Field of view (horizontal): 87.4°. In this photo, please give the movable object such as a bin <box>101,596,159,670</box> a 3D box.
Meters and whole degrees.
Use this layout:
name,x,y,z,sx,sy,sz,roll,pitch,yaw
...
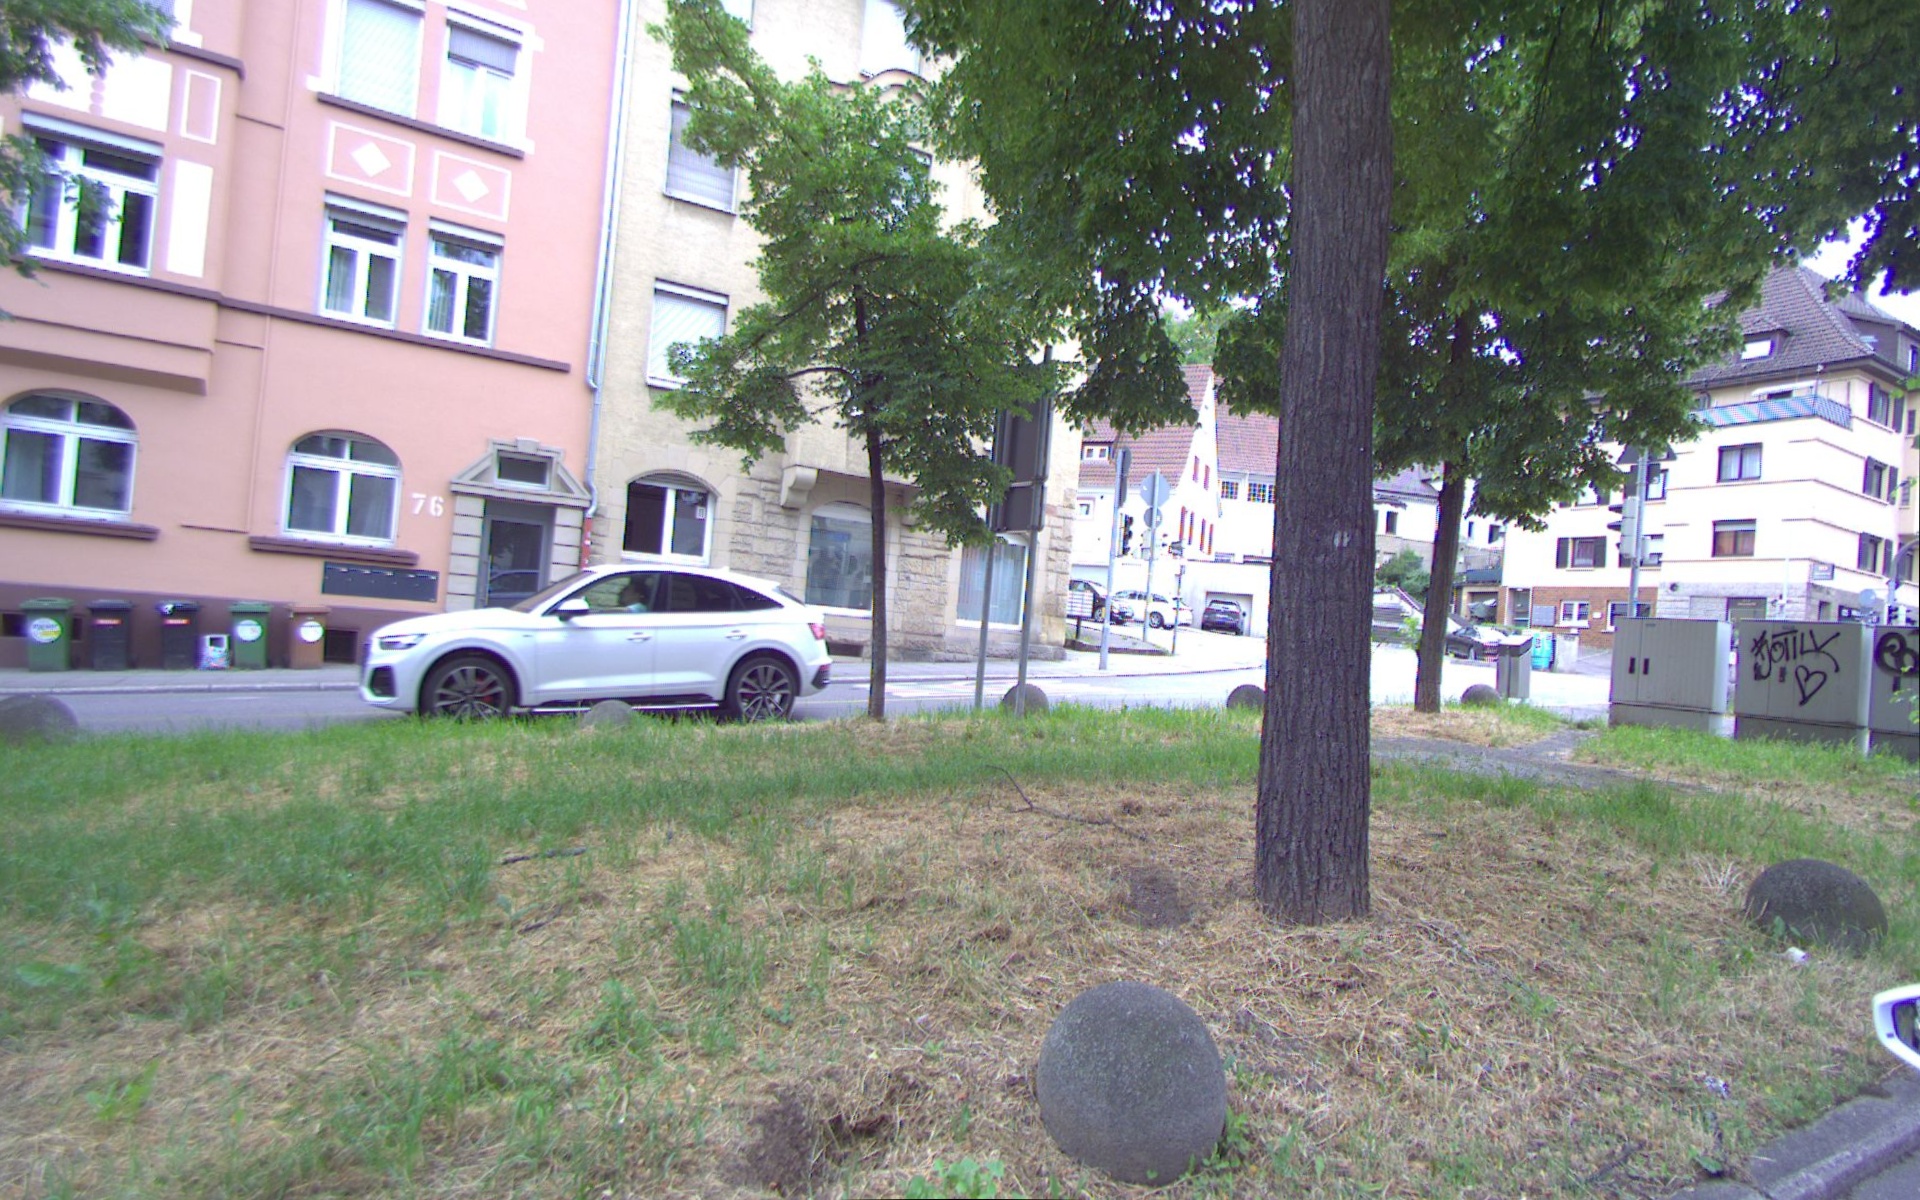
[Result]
name,x,y,z,sx,sy,sz,roll,pitch,yaw
movable object such as a bin,-11.107,0.438,13.461,0.528,0.958,0.576,3,-1,-36

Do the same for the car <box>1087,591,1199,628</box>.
name,x,y,z,sx,sy,sz,roll,pitch,yaw
car,7.260,0.366,39.910,4.059,1.296,1.645,2,-1,29

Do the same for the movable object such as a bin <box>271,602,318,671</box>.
name,x,y,z,sx,sy,sz,roll,pitch,yaw
movable object such as a bin,-9.474,0.509,14.303,0.510,0.934,0.752,3,-1,-34

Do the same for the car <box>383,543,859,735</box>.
name,x,y,z,sx,sy,sz,roll,pitch,yaw
car,-3.487,0.378,10.561,4.438,1.649,1.885,2,0,-31

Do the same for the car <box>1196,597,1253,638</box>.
name,x,y,z,sx,sy,sz,roll,pitch,yaw
car,11.717,0.745,44.671,1.639,1.423,3.057,7,2,1

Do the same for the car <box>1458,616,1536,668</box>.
name,x,y,z,sx,sy,sz,roll,pitch,yaw
car,21.851,1.659,41.010,1.832,1.618,3.519,3,5,12

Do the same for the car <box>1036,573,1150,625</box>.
name,x,y,z,sx,sy,sz,roll,pitch,yaw
car,4.924,-0.036,37.317,3.652,1.461,1.756,8,2,33

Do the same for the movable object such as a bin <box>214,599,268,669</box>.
name,x,y,z,sx,sy,sz,roll,pitch,yaw
movable object such as a bin,-9.996,0.470,13.978,0.554,0.934,0.649,3,-1,-35

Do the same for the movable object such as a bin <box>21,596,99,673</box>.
name,x,y,z,sx,sy,sz,roll,pitch,yaw
movable object such as a bin,-11.700,0.443,13.081,0.611,0.961,0.613,3,-1,-31
